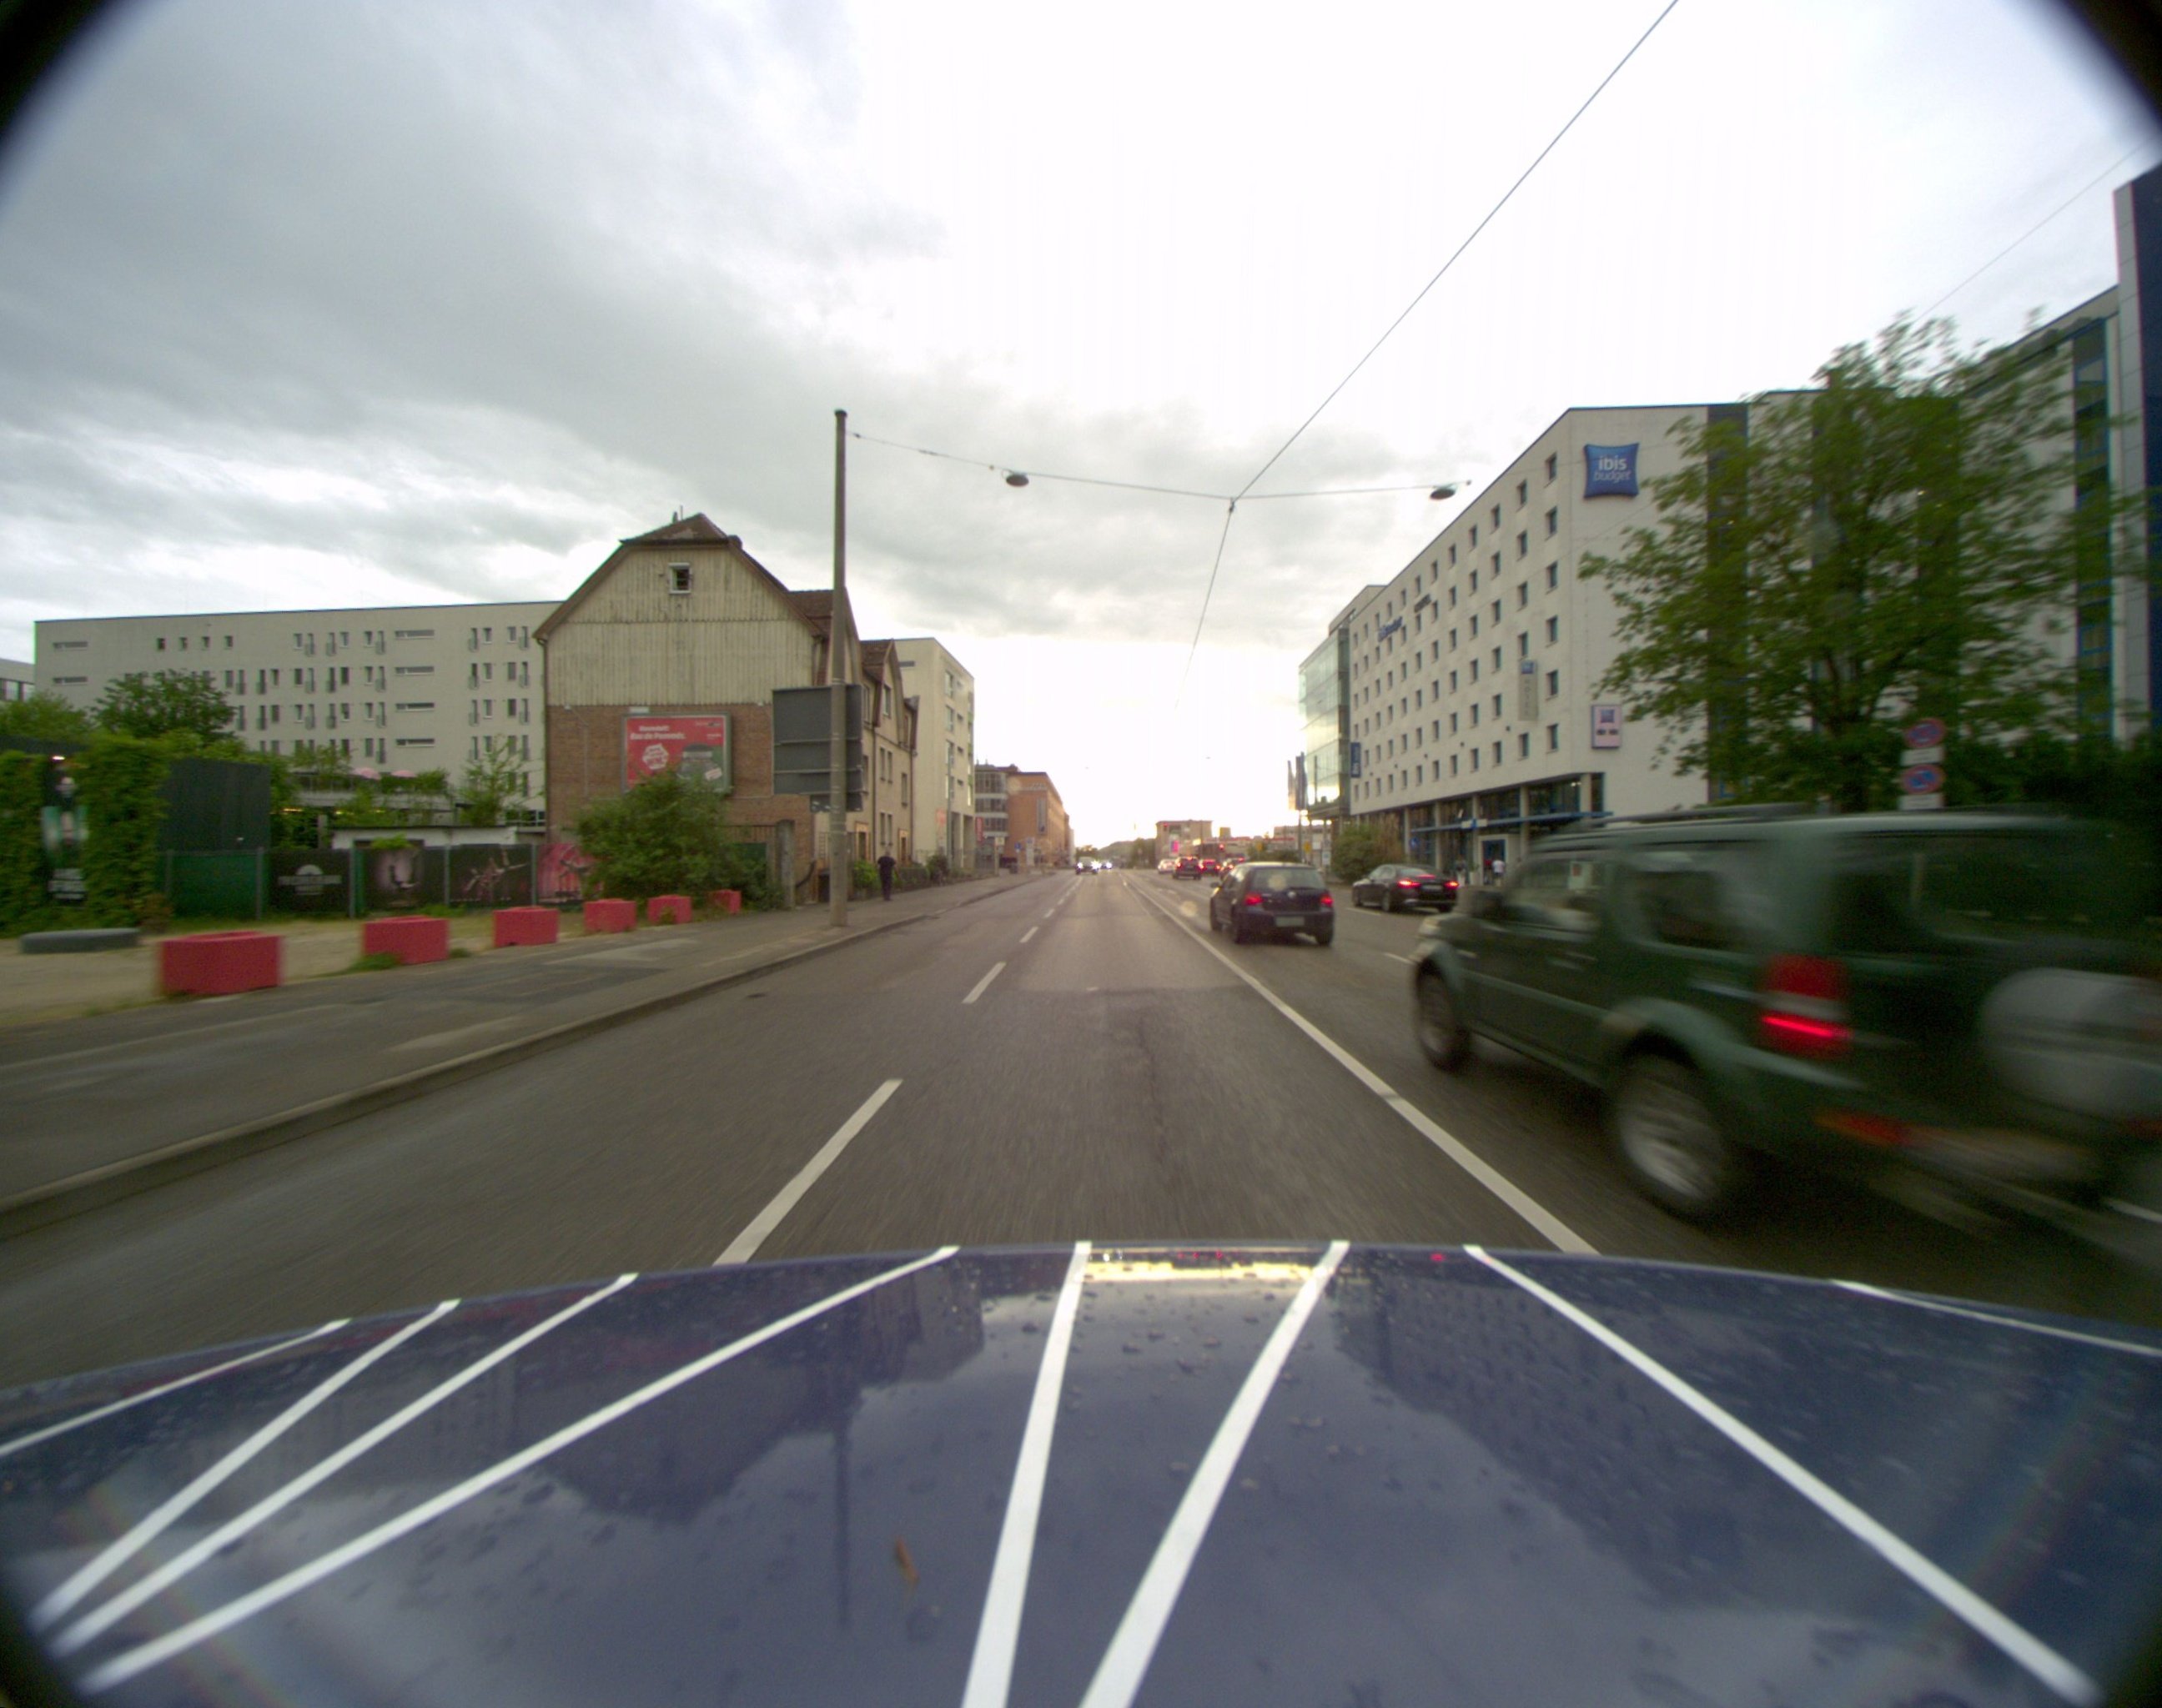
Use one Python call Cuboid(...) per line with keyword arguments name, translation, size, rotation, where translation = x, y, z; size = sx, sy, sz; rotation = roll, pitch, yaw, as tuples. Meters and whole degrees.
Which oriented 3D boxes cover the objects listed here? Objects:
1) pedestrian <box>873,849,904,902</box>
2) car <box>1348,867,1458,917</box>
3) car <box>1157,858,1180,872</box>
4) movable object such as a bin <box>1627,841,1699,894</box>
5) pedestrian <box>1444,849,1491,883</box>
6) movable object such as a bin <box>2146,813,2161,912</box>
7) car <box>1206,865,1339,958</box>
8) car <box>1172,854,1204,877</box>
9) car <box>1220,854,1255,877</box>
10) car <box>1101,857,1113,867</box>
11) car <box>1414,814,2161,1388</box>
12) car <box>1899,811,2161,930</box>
Cuboid(name="pedestrian", translation=(-6.649, 0.729, 26.300), size=(0.914, 1.754, 0.766), rotation=(-3, 2, -11))
Cuboid(name="car", translation=(9.699, 1.101, 23.265), size=(1.625, 1.315, 4.447), rotation=(2, -1, 3))
Cuboid(name="car", translation=(8.710, 1.064, 75.872), size=(1.822, 1.379, 4.963), rotation=(0, 0, 1))
Cuboid(name="movable object such as a bin", translation=(17.062, 0.419, 22.285), size=(1.394, 1.481, 0.951), rotation=(2, -2, -5))
Cuboid(name="pedestrian", translation=(20.101, 0.647, 39.623), size=(1.995, 1.710, 1.698), rotation=(-1, -1, 21))
Cuboid(name="movable object such as a bin", translation=(31.369, 0.351, 19.158), size=(5.639, 2.613, 2.161), rotation=(2, 2, 1))
Cuboid(name="car", translation=(3.491, 0.981, 14.510), size=(1.663, 1.477, 3.820), rotation=(0, 0, 1))
Cuboid(name="car", translation=(7.965, 0.877, 57.005), size=(1.760, 1.546, 4.451), rotation=(2, -1, 1))
Cuboid(name="car", translation=(11.194, 0.829, 54.588), size=(1.712, 1.556, 4.035), rotation=(2, -1, 2))
Cuboid(name="car", translation=(4.298, 1.354, 125.729), size=(1.964, 1.516, 4.263), rotation=(-1, 0, 1))
Cuboid(name="car", translation=(3.176, 0.749, 3.907), size=(1.507, 1.656, 3.420), rotation=(0, -1, 1))
Cuboid(name="car", translation=(19.314, 0.251, 14.889), size=(1.840, 2.002, 4.314), rotation=(2, 2, 1))
